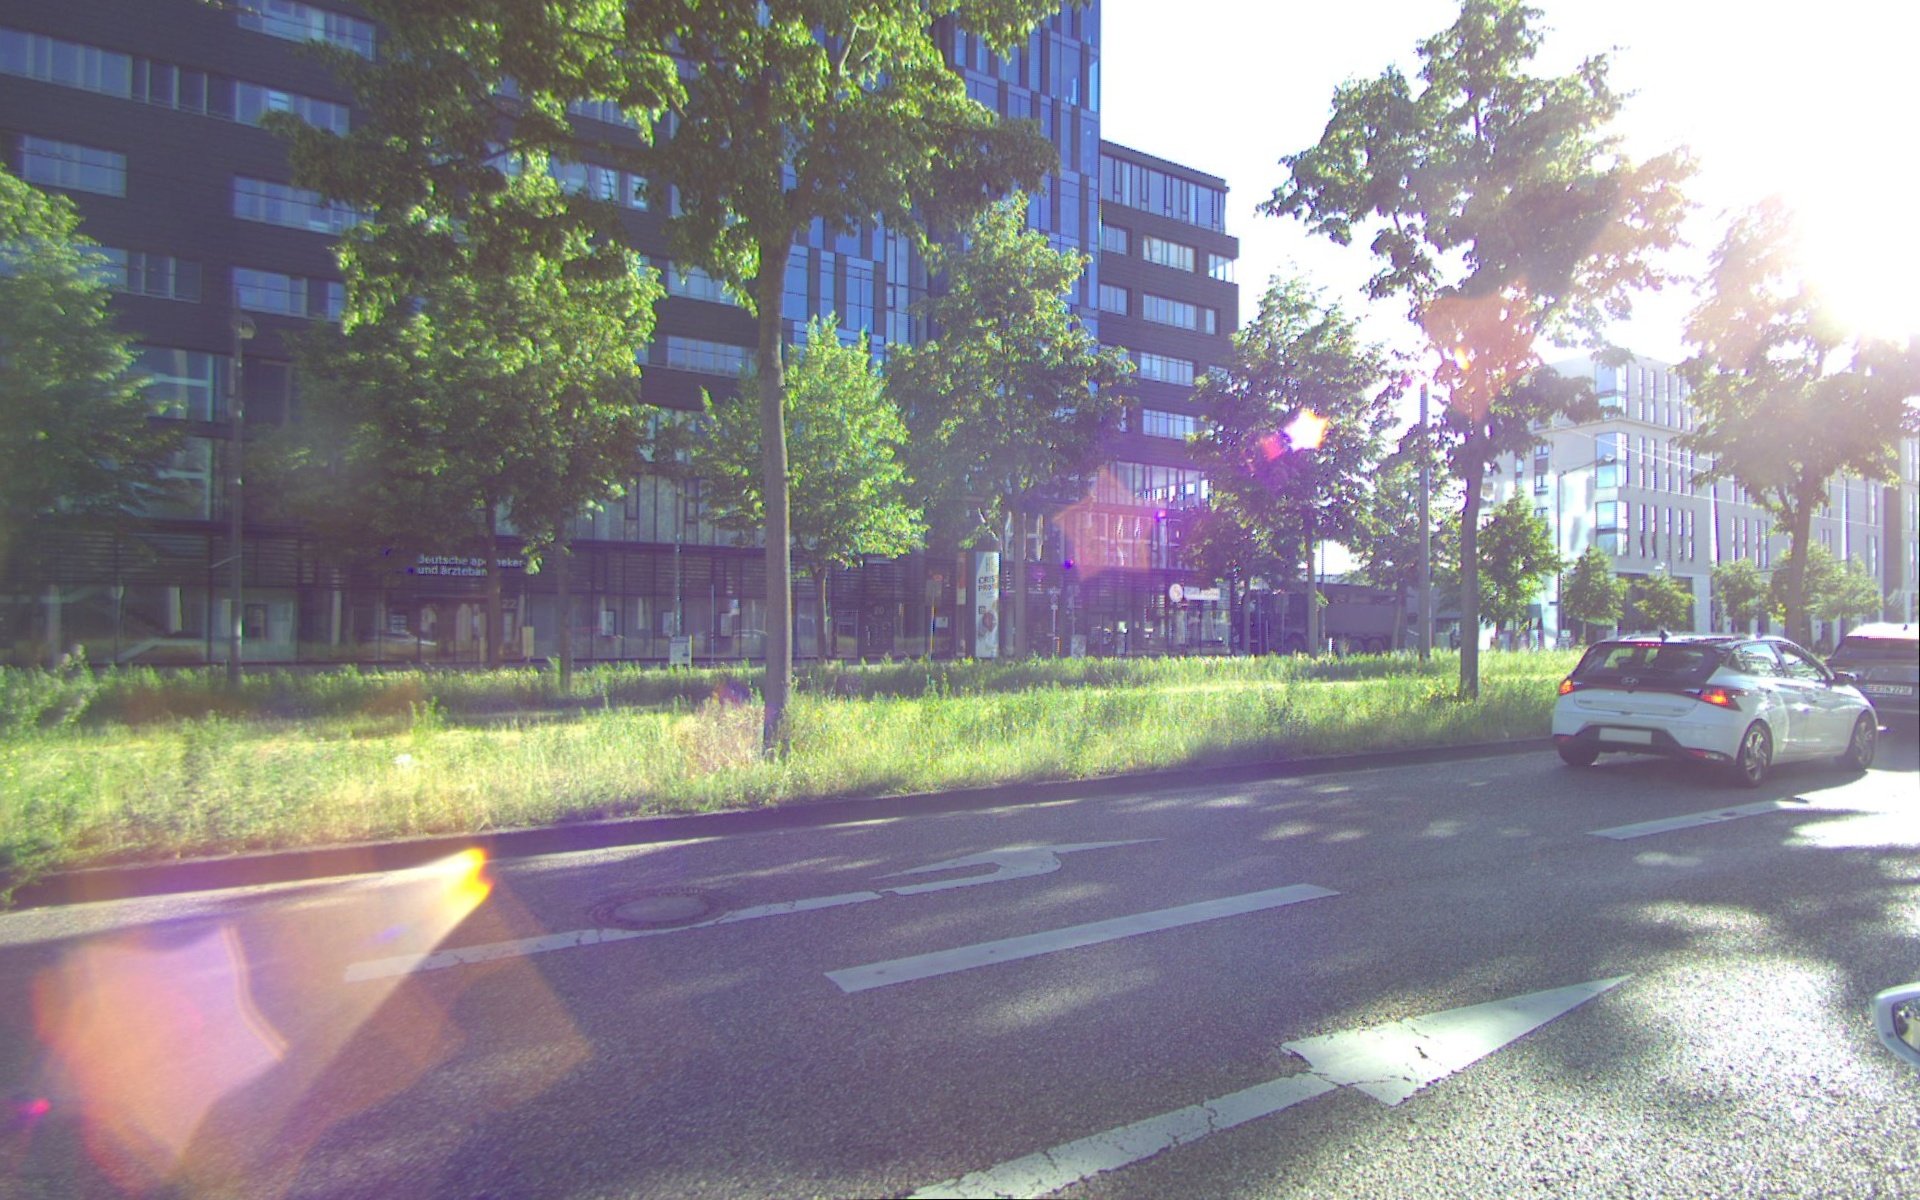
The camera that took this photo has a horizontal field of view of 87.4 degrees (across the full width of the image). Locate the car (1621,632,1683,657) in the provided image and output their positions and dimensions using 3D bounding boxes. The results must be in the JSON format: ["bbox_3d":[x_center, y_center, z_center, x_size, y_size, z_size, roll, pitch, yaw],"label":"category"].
[{"bbox_3d":[44.046,2.808,63.881,3.953,1.540,1.757,1,-2,-30],"label":"car"}]

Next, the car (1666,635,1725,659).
[{"bbox_3d":[49.126,3.120,67.068,3.953,1.540,1.757,1,-2,-30],"label":"car"}]

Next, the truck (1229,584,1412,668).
[{"bbox_3d":[18.222,1.346,50.459,10.095,3.904,2.877,1,-2,-31],"label":"truck"}]

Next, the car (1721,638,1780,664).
[{"bbox_3d":[57.975,3.727,73.663,4.319,1.838,1.984,1,-2,-31],"label":"car"}]

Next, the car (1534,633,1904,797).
[{"bbox_3d":[8.424,1.113,11.042,4.519,1.466,1.789,2,-2,-33],"label":"car"}]

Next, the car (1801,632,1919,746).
[{"bbox_3d":[14.138,1.200,14.443,4.517,1.466,1.790,1,-3,-32],"label":"car"}]

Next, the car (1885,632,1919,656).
[{"bbox_3d":[84.578,3.927,89.552,3.953,2.040,1.984,1,-2,-30],"label":"car"}]
